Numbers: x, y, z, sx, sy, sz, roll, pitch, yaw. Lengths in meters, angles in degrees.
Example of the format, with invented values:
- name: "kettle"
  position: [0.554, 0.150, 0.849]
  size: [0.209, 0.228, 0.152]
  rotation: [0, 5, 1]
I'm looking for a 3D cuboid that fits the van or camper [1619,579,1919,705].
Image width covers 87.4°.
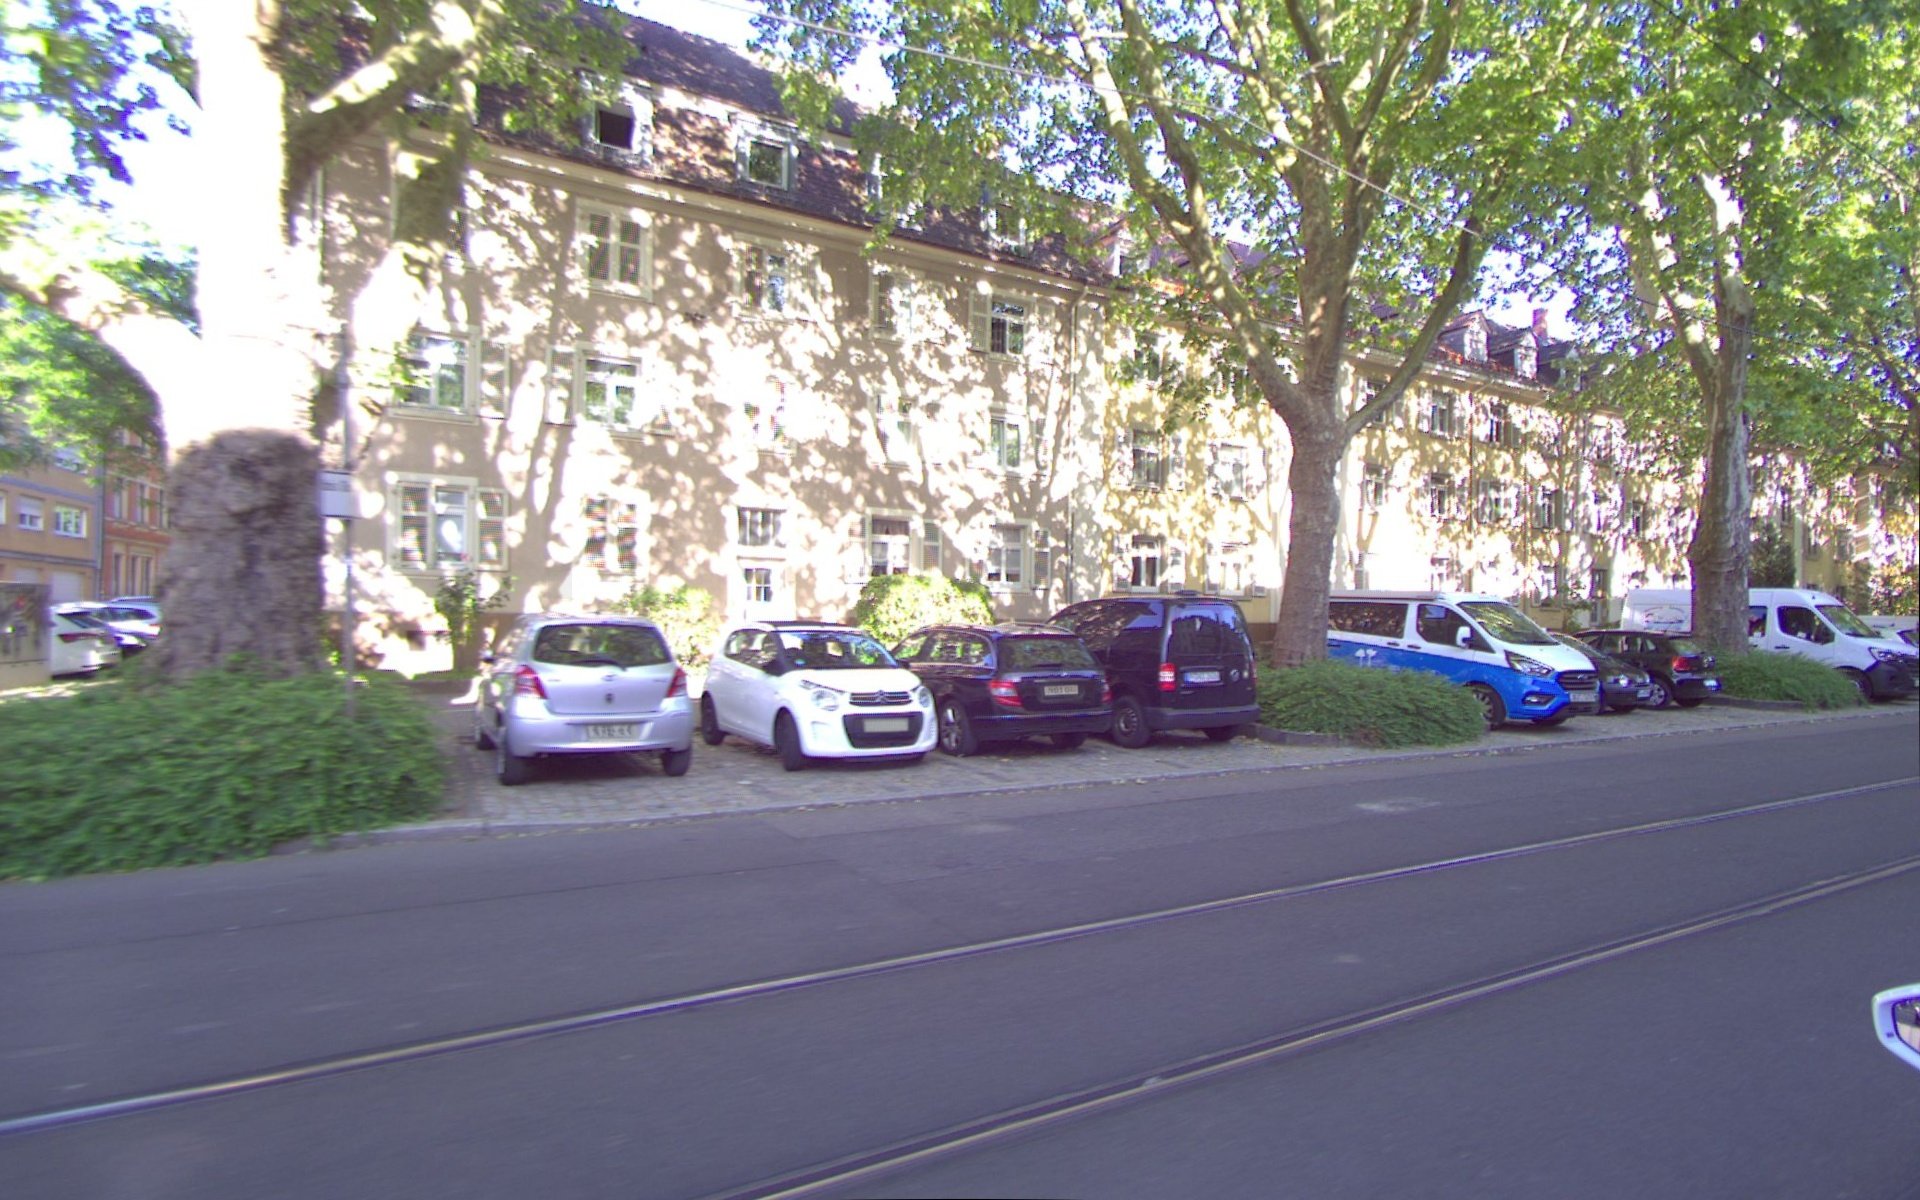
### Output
- name: "van or camper"
  position: [18.745, 0.875, 23.224]
  size: [2.414, 2.549, 5.368]
  rotation: [1, -1, -28]

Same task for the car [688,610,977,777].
- name: "car"
  position: [-1.578, 0.906, 11.321]
  size: [1.686, 1.505, 3.656]
  rotation: [1, -1, -36]

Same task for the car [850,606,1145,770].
- name: "car"
  position: [0.309, 0.932, 12.285]
  size: [1.781, 1.646, 3.658]
  rotation: [1, -1, -34]

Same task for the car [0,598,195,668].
- name: "car"
  position: [-18.770, 0.704, 21.660]
  size: [3.299, 1.409, 1.475]
  rotation: [1, -1, -23]

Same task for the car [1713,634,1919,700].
- name: "car"
  position: [20.830, 1.537, 23.997]
  size: [1.732, 1.417, 4.246]
  rotation: [1, -2, -29]

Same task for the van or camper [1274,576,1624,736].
- name: "van or camper"
  position: [7.786, 0.793, 16.505]
  size: [2.097, 2.219, 4.791]
  rotation: [1, -1, -33]

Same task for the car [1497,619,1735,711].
- name: "car"
  position: [12.912, 1.209, 19.994]
  size: [1.592, 1.586, 3.669]
  rotation: [1, -1, -27]

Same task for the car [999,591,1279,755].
- name: "car"
  position: [2.211, 0.837, 13.316]
  size: [1.684, 1.839, 3.664]
  rotation: [1, -1, -30]

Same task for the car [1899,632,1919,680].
- name: "car"
  position: [32.131, 1.789, 31.316]
  size: [1.840, 1.517, 3.831]
  rotation: [1, -2, -29]

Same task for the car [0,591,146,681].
- name: "car"
  position: [-17.317, 0.596, 17.485]
  size: [4.543, 1.516, 1.699]
  rotation: [1, -1, -23]

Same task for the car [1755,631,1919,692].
- name: "car"
  position: [24.158, 1.612, 27.132]
  size: [1.840, 1.517, 3.831]
  rotation: [1, -2, -29]

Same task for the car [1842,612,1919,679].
- name: "car"
  position: [29.630, 1.383, 29.968]
  size: [1.941, 1.971, 4.630]
  rotation: [1, -1, -33]

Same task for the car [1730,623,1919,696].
- name: "car"
  position: [22.340, 1.453, 25.660]
  size: [1.840, 1.685, 3.831]
  rotation: [1, -2, -29]

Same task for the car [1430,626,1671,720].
- name: "car"
  position: [10.907, 1.280, 18.728]
  size: [1.680, 1.479, 3.505]
  rotation: [1, -1, -36]

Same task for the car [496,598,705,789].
- name: "car"
  position: [-3.800, 0.797, 10.348]
  size: [1.680, 1.574, 3.672]
  rotation: [1, -1, -24]
